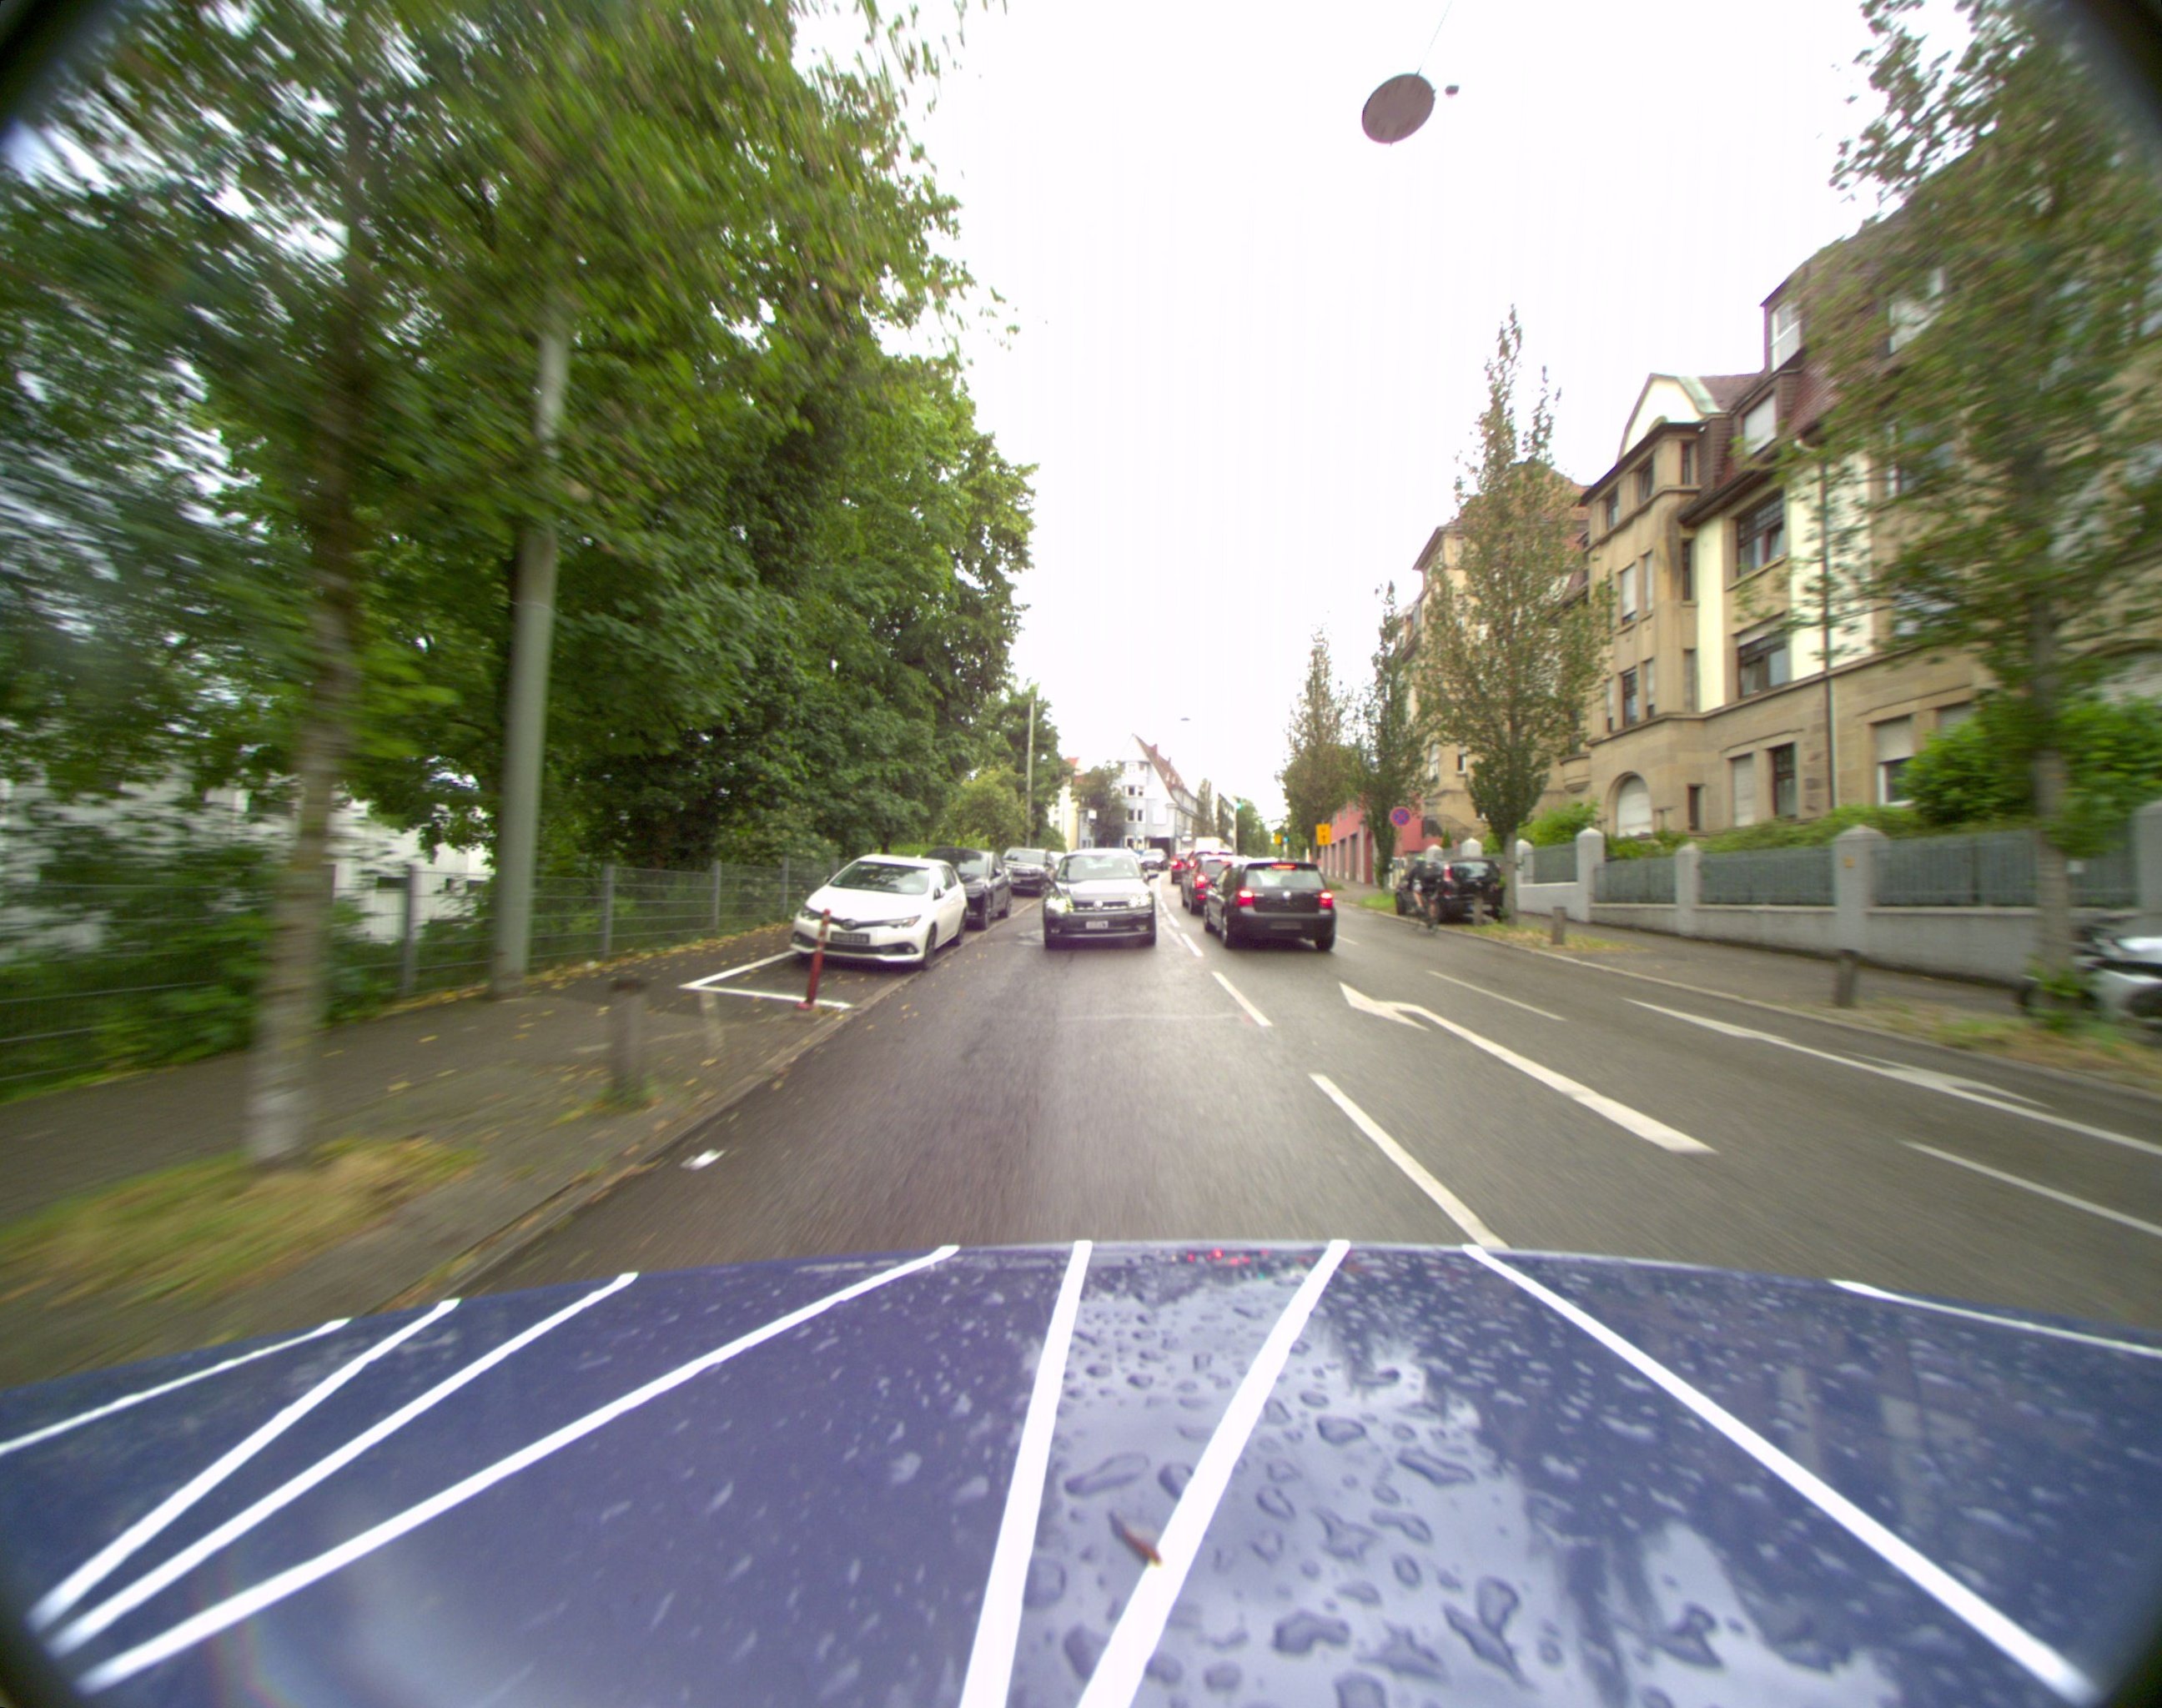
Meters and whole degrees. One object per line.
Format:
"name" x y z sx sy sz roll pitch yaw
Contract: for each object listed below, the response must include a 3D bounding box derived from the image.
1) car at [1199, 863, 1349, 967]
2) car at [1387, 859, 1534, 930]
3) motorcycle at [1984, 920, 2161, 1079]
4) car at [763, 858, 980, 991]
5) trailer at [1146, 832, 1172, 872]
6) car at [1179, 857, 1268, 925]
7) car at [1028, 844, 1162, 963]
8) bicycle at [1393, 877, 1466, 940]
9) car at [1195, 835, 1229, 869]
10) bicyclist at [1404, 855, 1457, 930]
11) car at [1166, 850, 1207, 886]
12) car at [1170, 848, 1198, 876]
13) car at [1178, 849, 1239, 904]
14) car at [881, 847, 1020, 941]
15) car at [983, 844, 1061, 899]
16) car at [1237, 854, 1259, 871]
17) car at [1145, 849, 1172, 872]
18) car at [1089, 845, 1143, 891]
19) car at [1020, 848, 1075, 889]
"car" 3.124 0.917 13.054 1.766 1.423 3.886 2 0 4
"car" 9.597 0.962 19.578 2.000 1.586 3.829 -2 0 3
"motorcycle" 9.302 1.266 6.495 0.657 1.228 1.981 2 -1 -6
"car" -2.842 0.884 11.569 1.745 1.454 4.884 5 -1 1
"trailer" 6.146 -0.118 59.663 1.966 3.023 2.366 0 -1 7
"car" 3.544 0.892 19.547 1.715 1.471 4.116 4 -1 4
"car" 0.313 0.775 13.369 1.859 1.641 5.197 1 -2 3
"bicycle" 7.529 1.141 16.515 0.657 1.228 1.982 2 -1 1
"car" 10.938 -0.109 63.275 2.132 2.491 5.417 4 -1 15
"bicyclist" 7.546 0.812 16.447 0.657 1.547 0.991 2 0 1
"car" 5.076 0.689 36.925 1.621 1.515 4.116 4 -1 4
"car" 6.736 0.527 49.539 1.621 1.652 4.118 4 -1 8
"car" 4.437 0.734 26.990 1.656 1.698 4.115 4 0 4
"car" -2.705 0.810 16.993 1.925 1.641 4.885 5 -1 2
"car" -2.001 0.579 27.232 1.972 1.641 4.817 5 0 4
"car" 22.096 1.174 100.414 2.132 2.015 5.418 4 -1 19
"car" 5.793 0.528 56.488 1.924 1.641 4.137 0 -1 7
"car" 1.405 0.534 29.137 1.924 1.641 4.488 0 -1 4
"car" -1.381 0.609 33.286 1.925 1.552 4.013 5 0 2
